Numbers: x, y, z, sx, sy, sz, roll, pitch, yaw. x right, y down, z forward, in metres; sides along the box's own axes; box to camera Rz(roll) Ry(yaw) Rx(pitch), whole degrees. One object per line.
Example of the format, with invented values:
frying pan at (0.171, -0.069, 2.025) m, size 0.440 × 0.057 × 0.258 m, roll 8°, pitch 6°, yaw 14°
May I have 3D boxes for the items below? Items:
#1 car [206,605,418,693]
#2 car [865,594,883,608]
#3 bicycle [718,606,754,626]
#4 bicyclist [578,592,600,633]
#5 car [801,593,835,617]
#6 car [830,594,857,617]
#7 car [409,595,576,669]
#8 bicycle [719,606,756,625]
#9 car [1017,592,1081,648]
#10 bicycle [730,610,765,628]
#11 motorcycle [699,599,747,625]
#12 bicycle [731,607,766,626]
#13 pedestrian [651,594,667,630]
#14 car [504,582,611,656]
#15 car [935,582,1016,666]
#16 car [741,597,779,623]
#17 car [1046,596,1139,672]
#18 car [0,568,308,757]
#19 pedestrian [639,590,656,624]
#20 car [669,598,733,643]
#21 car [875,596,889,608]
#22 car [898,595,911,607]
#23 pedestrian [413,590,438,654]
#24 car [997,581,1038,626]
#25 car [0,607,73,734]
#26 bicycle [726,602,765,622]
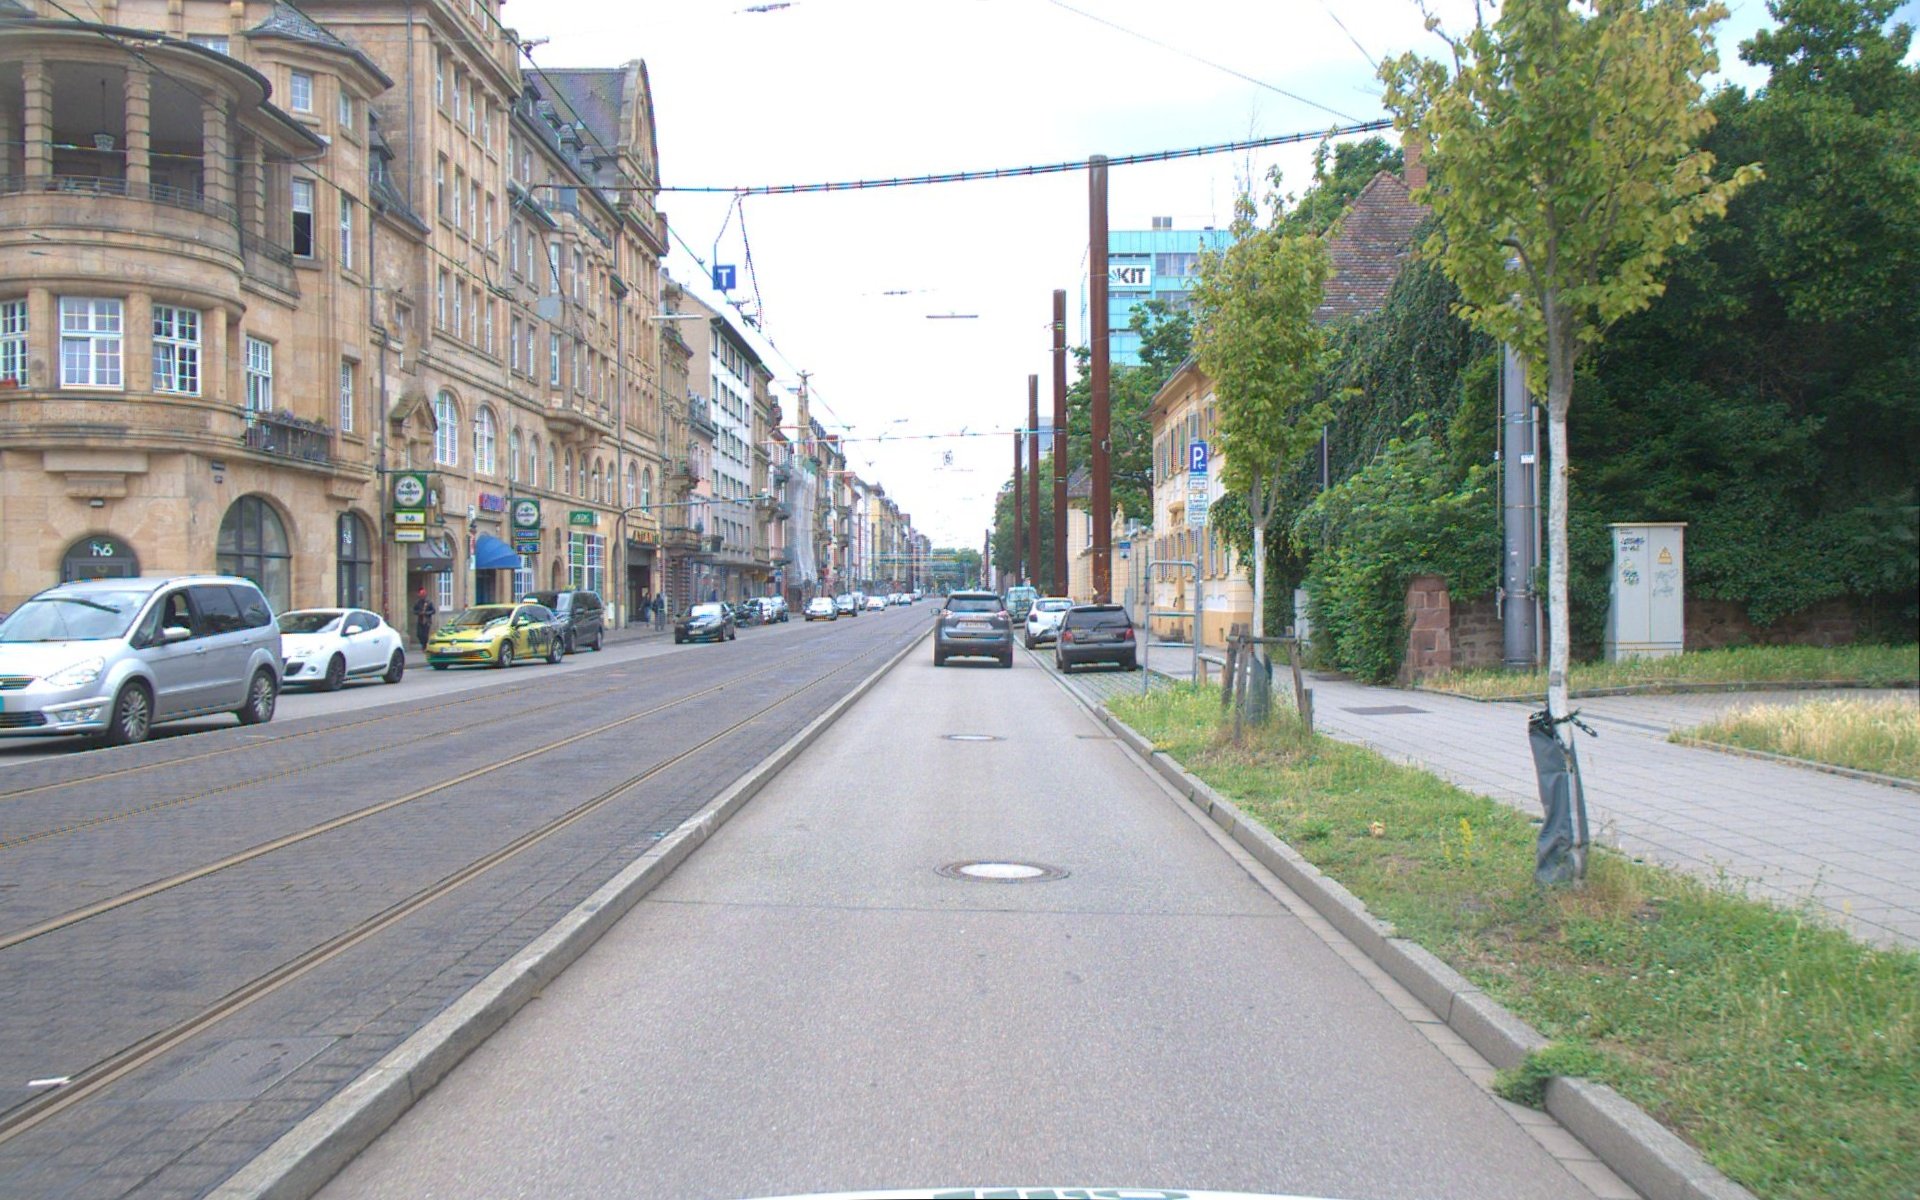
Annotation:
car at (-11.365, 0.807, 29.338) m, size 1.886 × 1.404 × 4.260 m, roll 0°, pitch 0°, yaw 3°
car at (-8.767, 0.106, 169.141) m, size 1.653 × 1.445 × 4.135 m, roll 0°, pitch 0°, yaw 0°
bicycle at (-11.925, 0.842, 87.965) m, size 1.885 × 1.018 × 0.462 m, roll 0°, pitch 0°, yaw -8°
bicyclist at (-13.891, 0.469, 61.990) m, size 0.598 × 1.513 × 0.972 m, roll 0°, pitch 0°, yaw 0°
car at (-9.089, 0.325, 106.223) m, size 1.723 × 1.474 × 4.614 m, roll 0°, pitch 0°, yaw 0°
car at (-8.792, 0.389, 125.044) m, size 1.723 × 1.701 × 4.614 m, roll 0°, pitch 0°, yaw 0°
car at (-10.702, 0.696, 38.202) m, size 1.858 × 1.537 × 4.432 m, roll -2°, pitch 0°, yaw 11°
bicycle at (-11.925, 0.829, 88.750) m, size 1.929 × 1.018 × 0.462 m, roll 0°, pitch 0°, yaw -8°
car at (2.770, 0.597, 52.157) m, size 1.719 × 1.602 × 3.930 m, roll -3°, pitch 0°, yaw 0°
bicycle at (-11.825, 1.057, 92.181) m, size 1.929 × 1.018 × 0.462 m, roll 0°, pitch 0°, yaw -8°
motorcycle at (-12.267, 0.602, 85.633) m, size 2.318 × 1.325 × 0.872 m, roll 0°, pitch 0°, yaw -37°
bicycle at (-11.908, 0.939, 93.280) m, size 1.929 × 1.018 × 0.462 m, roll 0°, pitch 0°, yaw -8°
pedestrian at (-13.927, 0.552, 76.534) m, size 0.556 × 1.626 × 0.718 m, roll 0°, pitch 0°, yaw 0°
car at (-11.865, 0.520, 49.084) m, size 1.860 × 2.011 × 5.097 m, roll -3°, pitch 0°, yaw 0°
car at (0.348, 0.524, 38.458) m, size 1.714 × 1.786 × 3.923 m, roll 2°, pitch 0°, yaw 0°
car at (-11.786, 0.569, 97.663) m, size 1.739 × 1.531 × 4.401 m, roll 0°, pitch 0°, yaw 0°
car at (2.807, 0.686, 35.722) m, size 1.604 × 1.458 × 3.930 m, roll -3°, pitch 0°, yaw 0°
car at (-8.973, 0.581, 17.801) m, size 1.824 × 1.735 × 4.910 m, roll -2°, pitch 0°, yaw 1°
pedestrian at (-15.239, 0.319, 80.603) m, size 0.671 × 1.641 × 0.742 m, roll 0°, pitch 0°, yaw 0°
car at (-9.206, 0.687, 59.041) m, size 1.791 × 1.458 × 4.663 m, roll -3°, pitch 0°, yaw -4°
car at (-10.866, 0.242, 231.061) m, size 1.954 × 1.664 × 3.997 m, roll 0°, pitch -1°, yaw -3°
car at (-8.163, 0.139, 243.390) m, size 1.954 × 1.664 × 3.997 m, roll 0°, pitch -1°, yaw -3°
pedestrian at (-14.810, 0.600, 45.837) m, size 0.485 × 1.758 × 0.765 m, roll 0°, pitch 0°, yaw -3°
car at (2.886, 0.171, 83.970) m, size 1.813 × 2.152 × 4.984 m, roll -3°, pitch 0°, yaw 0°
car at (-11.793, 0.846, 18.118) m, size 1.824 × 1.423 × 3.897 m, roll -2°, pitch 0°, yaw 4°
bicycle at (-12.197, 0.668, 94.110) m, size 2.188 × 1.146 × 0.503 m, roll 0°, pitch 0°, yaw -8°
